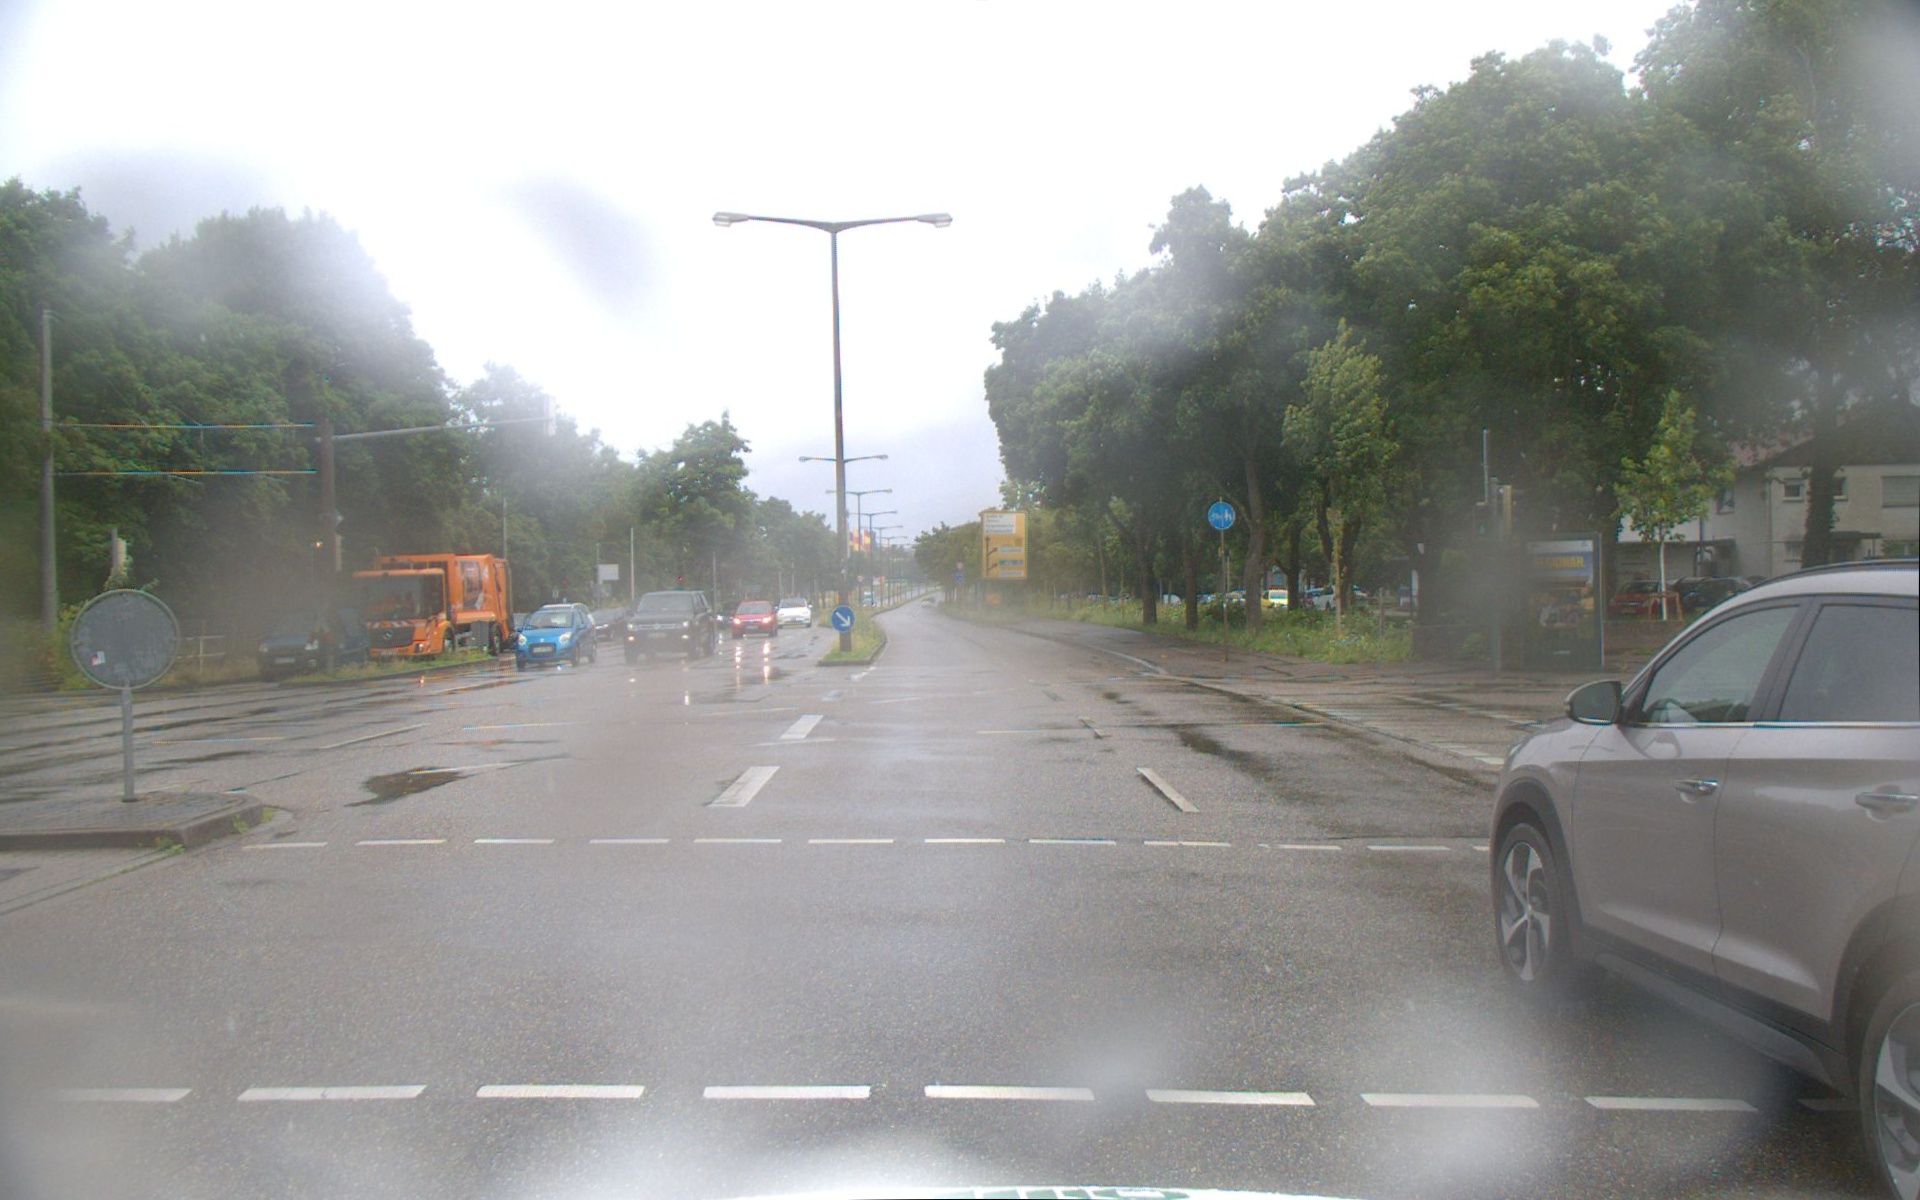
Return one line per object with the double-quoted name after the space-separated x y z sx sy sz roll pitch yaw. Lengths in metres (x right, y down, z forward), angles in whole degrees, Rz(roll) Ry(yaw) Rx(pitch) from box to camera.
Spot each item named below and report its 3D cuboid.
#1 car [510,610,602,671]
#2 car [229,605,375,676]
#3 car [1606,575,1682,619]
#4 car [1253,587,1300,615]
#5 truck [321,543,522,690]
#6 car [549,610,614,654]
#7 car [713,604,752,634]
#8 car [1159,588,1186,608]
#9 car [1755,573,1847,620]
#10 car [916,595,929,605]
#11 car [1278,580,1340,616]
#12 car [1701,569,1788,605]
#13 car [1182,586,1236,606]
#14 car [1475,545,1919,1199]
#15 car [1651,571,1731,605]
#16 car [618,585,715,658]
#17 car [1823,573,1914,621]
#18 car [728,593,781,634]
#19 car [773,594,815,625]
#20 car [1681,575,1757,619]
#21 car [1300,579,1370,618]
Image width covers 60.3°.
-10.667 1.039 43.874 1.608 1.452 3.997 -3 0 -3 "car"
-17.007 1.018 43.003 1.953 1.739 4.526 1 -1 0 "car"
24.160 -0.100 58.370 1.637 1.474 3.736 0 -1 37 "car"
17.746 0.055 92.854 1.605 1.512 4.070 1 -1 -3 "car"
-17.031 0.524 53.328 3.316 4.240 10.402 1 -1 -2 "truck"
-16.680 1.398 73.107 1.954 1.859 4.768 1 -1 -3 "car"
-13.343 1.092 97.269 1.672 1.670 4.330 -3 0 -1 "car"
17.213 -0.152 134.023 1.709 1.470 4.123 -2 2 1 "car"
27.950 -0.090 54.932 3.723 1.474 1.643 1 -1 -44 "car"
-5.855 0.023 259.534 1.868 1.541 3.999 -1 0 -1 "car"
17.909 -0.067 85.037 1.954 1.747 4.638 -2 0 -3 "car"
33.040 -0.527 69.765 1.552 1.409 3.997 1 -1 -4 "car"
22.677 -0.355 150.462 4.483 1.674 1.997 1 -1 -7 "car"
3.146 0.695 4.956 1.846 1.638 4.194 0 0 -1 "car"
30.725 -0.484 69.590 1.541 1.339 3.699 0 -1 -4 "car"
-7.896 0.546 44.885 1.769 1.804 5.087 -3 0 -2 "car"
29.497 -0.084 53.655 3.723 1.474 1.578 1 -1 -44 "car"
-8.695 0.580 70.301 1.765 1.597 4.426 -3 -1 -2 "car"
-9.261 0.530 92.545 1.921 1.645 4.695 -2 0 -2 "car"
26.216 -0.089 57.078 1.637 1.474 3.736 0 -1 37 "car"
17.967 -0.053 79.433 1.954 1.747 4.875 -2 0 -3 "car"
